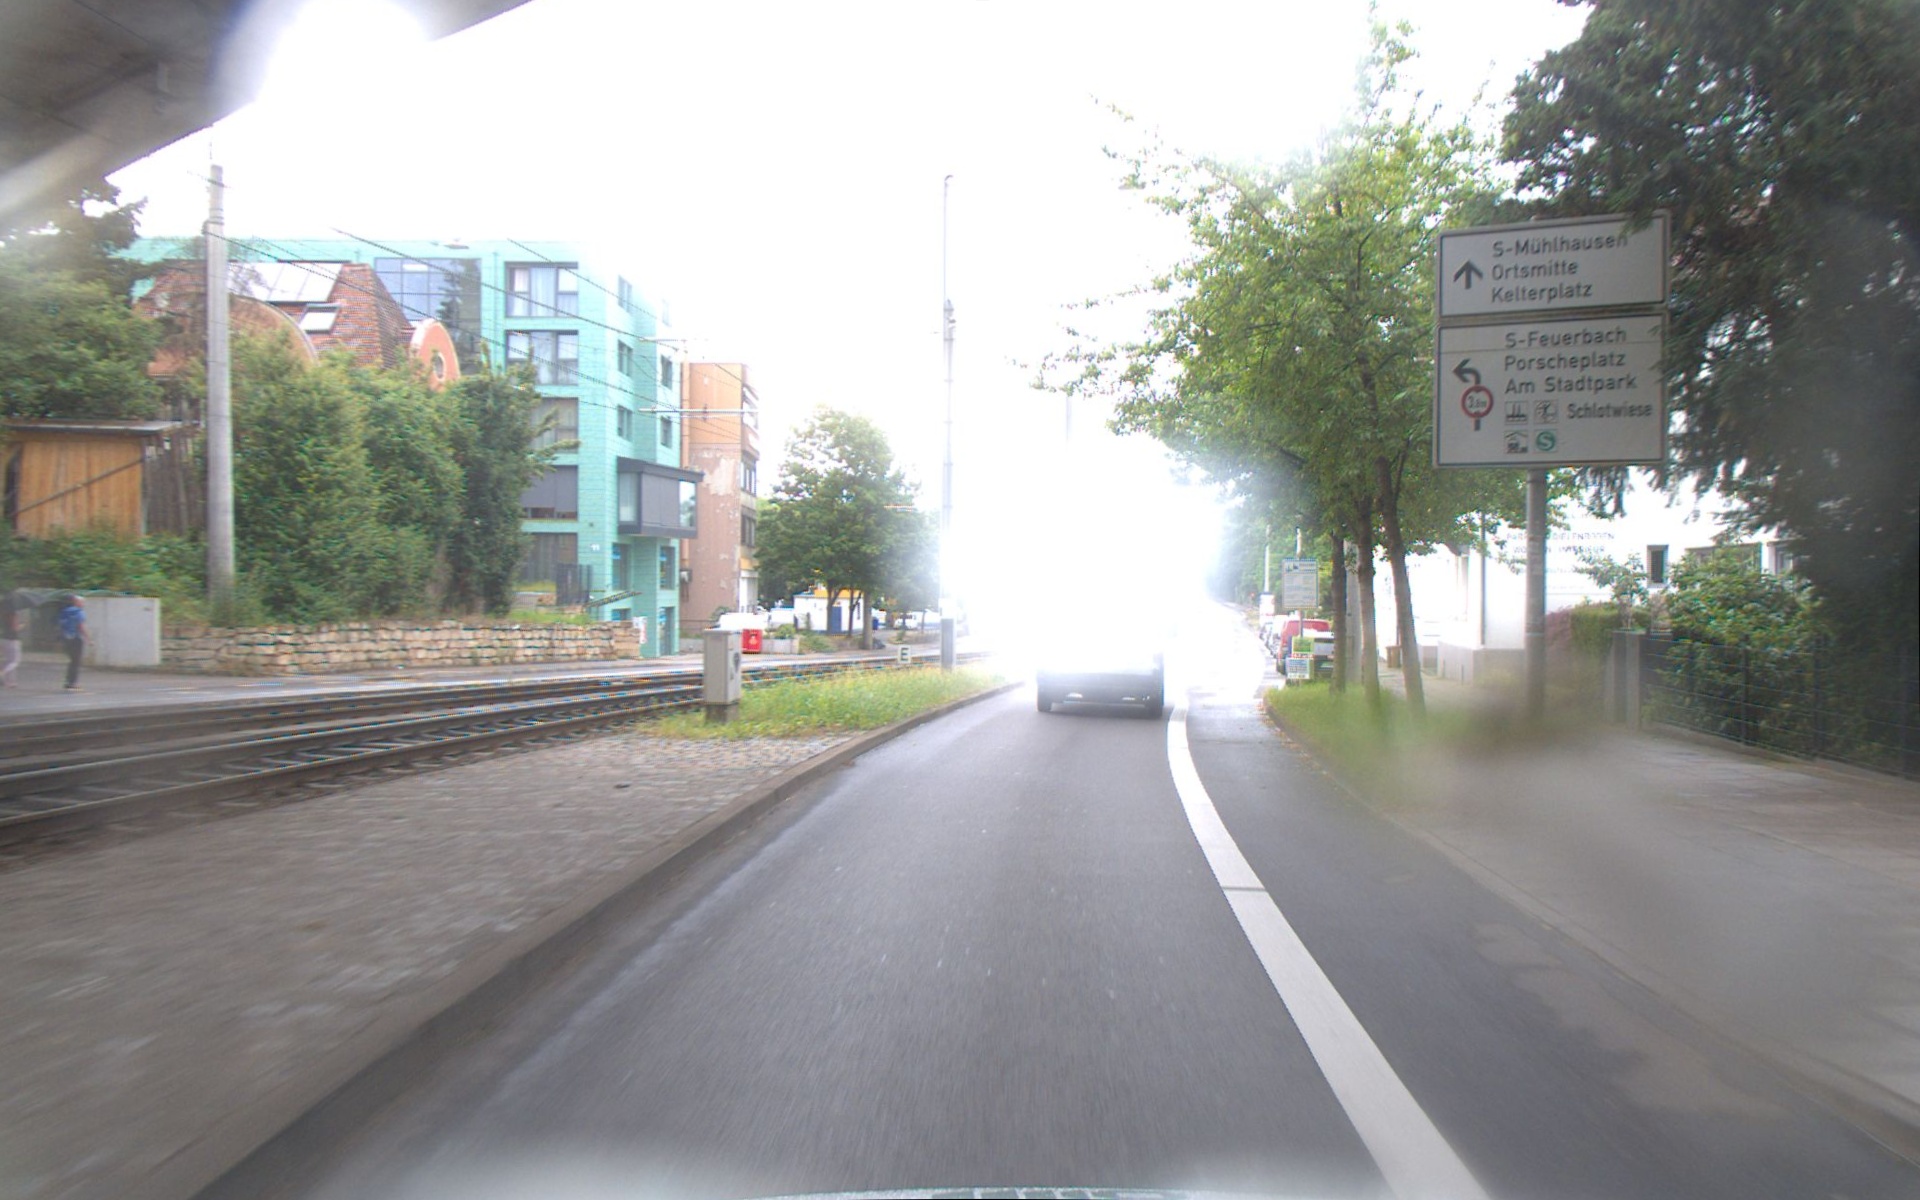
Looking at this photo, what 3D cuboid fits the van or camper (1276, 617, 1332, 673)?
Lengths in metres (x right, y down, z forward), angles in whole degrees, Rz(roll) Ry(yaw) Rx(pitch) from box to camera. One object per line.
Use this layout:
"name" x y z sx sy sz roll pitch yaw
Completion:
"van or camper" 12.532 1.625 60.432 1.811 1.954 4.998 0 -1 10

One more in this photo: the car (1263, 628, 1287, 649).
"car" 24.539 3.012 128.920 1.611 1.471 3.957 2 0 9

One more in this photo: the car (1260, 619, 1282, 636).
"car" 29.581 2.610 157.535 1.808 1.526 3.957 2 -1 8

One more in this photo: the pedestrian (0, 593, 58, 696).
"pedestrian" -17.415 0.809 30.775 0.678 1.863 0.867 2 0 9

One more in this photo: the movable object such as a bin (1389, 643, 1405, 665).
"movable object such as a bin" 18.009 2.243 68.177 0.574 0.895 0.448 0 -1 8

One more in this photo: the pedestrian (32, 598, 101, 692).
"pedestrian" -16.537 0.822 30.621 0.678 1.699 0.888 2 0 12

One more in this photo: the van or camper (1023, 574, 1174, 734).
"van or camper" 2.293 0.843 26.986 2.152 2.292 4.686 3 -1 6

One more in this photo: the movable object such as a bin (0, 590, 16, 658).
"movable object such as a bin" -22.622 0.518 37.606 1.772 1.505 1.551 3 1 44

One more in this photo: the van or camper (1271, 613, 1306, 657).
"van or camper" 21.356 2.242 107.720 1.951 2.608 6.048 2 0 9

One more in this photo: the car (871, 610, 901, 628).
"car" -6.607 1.688 147.841 1.951 1.467 4.003 3 -1 7

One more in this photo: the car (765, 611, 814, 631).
"car" -13.571 1.663 131.494 3.704 1.479 1.545 1 -1 -17

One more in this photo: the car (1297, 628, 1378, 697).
"car" 8.747 1.425 38.605 1.641 1.448 4.569 2 -1 11

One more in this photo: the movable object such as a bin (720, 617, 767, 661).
"movable object such as a bin" -11.456 2.051 87.580 2.090 2.194 1.802 3 0 1
